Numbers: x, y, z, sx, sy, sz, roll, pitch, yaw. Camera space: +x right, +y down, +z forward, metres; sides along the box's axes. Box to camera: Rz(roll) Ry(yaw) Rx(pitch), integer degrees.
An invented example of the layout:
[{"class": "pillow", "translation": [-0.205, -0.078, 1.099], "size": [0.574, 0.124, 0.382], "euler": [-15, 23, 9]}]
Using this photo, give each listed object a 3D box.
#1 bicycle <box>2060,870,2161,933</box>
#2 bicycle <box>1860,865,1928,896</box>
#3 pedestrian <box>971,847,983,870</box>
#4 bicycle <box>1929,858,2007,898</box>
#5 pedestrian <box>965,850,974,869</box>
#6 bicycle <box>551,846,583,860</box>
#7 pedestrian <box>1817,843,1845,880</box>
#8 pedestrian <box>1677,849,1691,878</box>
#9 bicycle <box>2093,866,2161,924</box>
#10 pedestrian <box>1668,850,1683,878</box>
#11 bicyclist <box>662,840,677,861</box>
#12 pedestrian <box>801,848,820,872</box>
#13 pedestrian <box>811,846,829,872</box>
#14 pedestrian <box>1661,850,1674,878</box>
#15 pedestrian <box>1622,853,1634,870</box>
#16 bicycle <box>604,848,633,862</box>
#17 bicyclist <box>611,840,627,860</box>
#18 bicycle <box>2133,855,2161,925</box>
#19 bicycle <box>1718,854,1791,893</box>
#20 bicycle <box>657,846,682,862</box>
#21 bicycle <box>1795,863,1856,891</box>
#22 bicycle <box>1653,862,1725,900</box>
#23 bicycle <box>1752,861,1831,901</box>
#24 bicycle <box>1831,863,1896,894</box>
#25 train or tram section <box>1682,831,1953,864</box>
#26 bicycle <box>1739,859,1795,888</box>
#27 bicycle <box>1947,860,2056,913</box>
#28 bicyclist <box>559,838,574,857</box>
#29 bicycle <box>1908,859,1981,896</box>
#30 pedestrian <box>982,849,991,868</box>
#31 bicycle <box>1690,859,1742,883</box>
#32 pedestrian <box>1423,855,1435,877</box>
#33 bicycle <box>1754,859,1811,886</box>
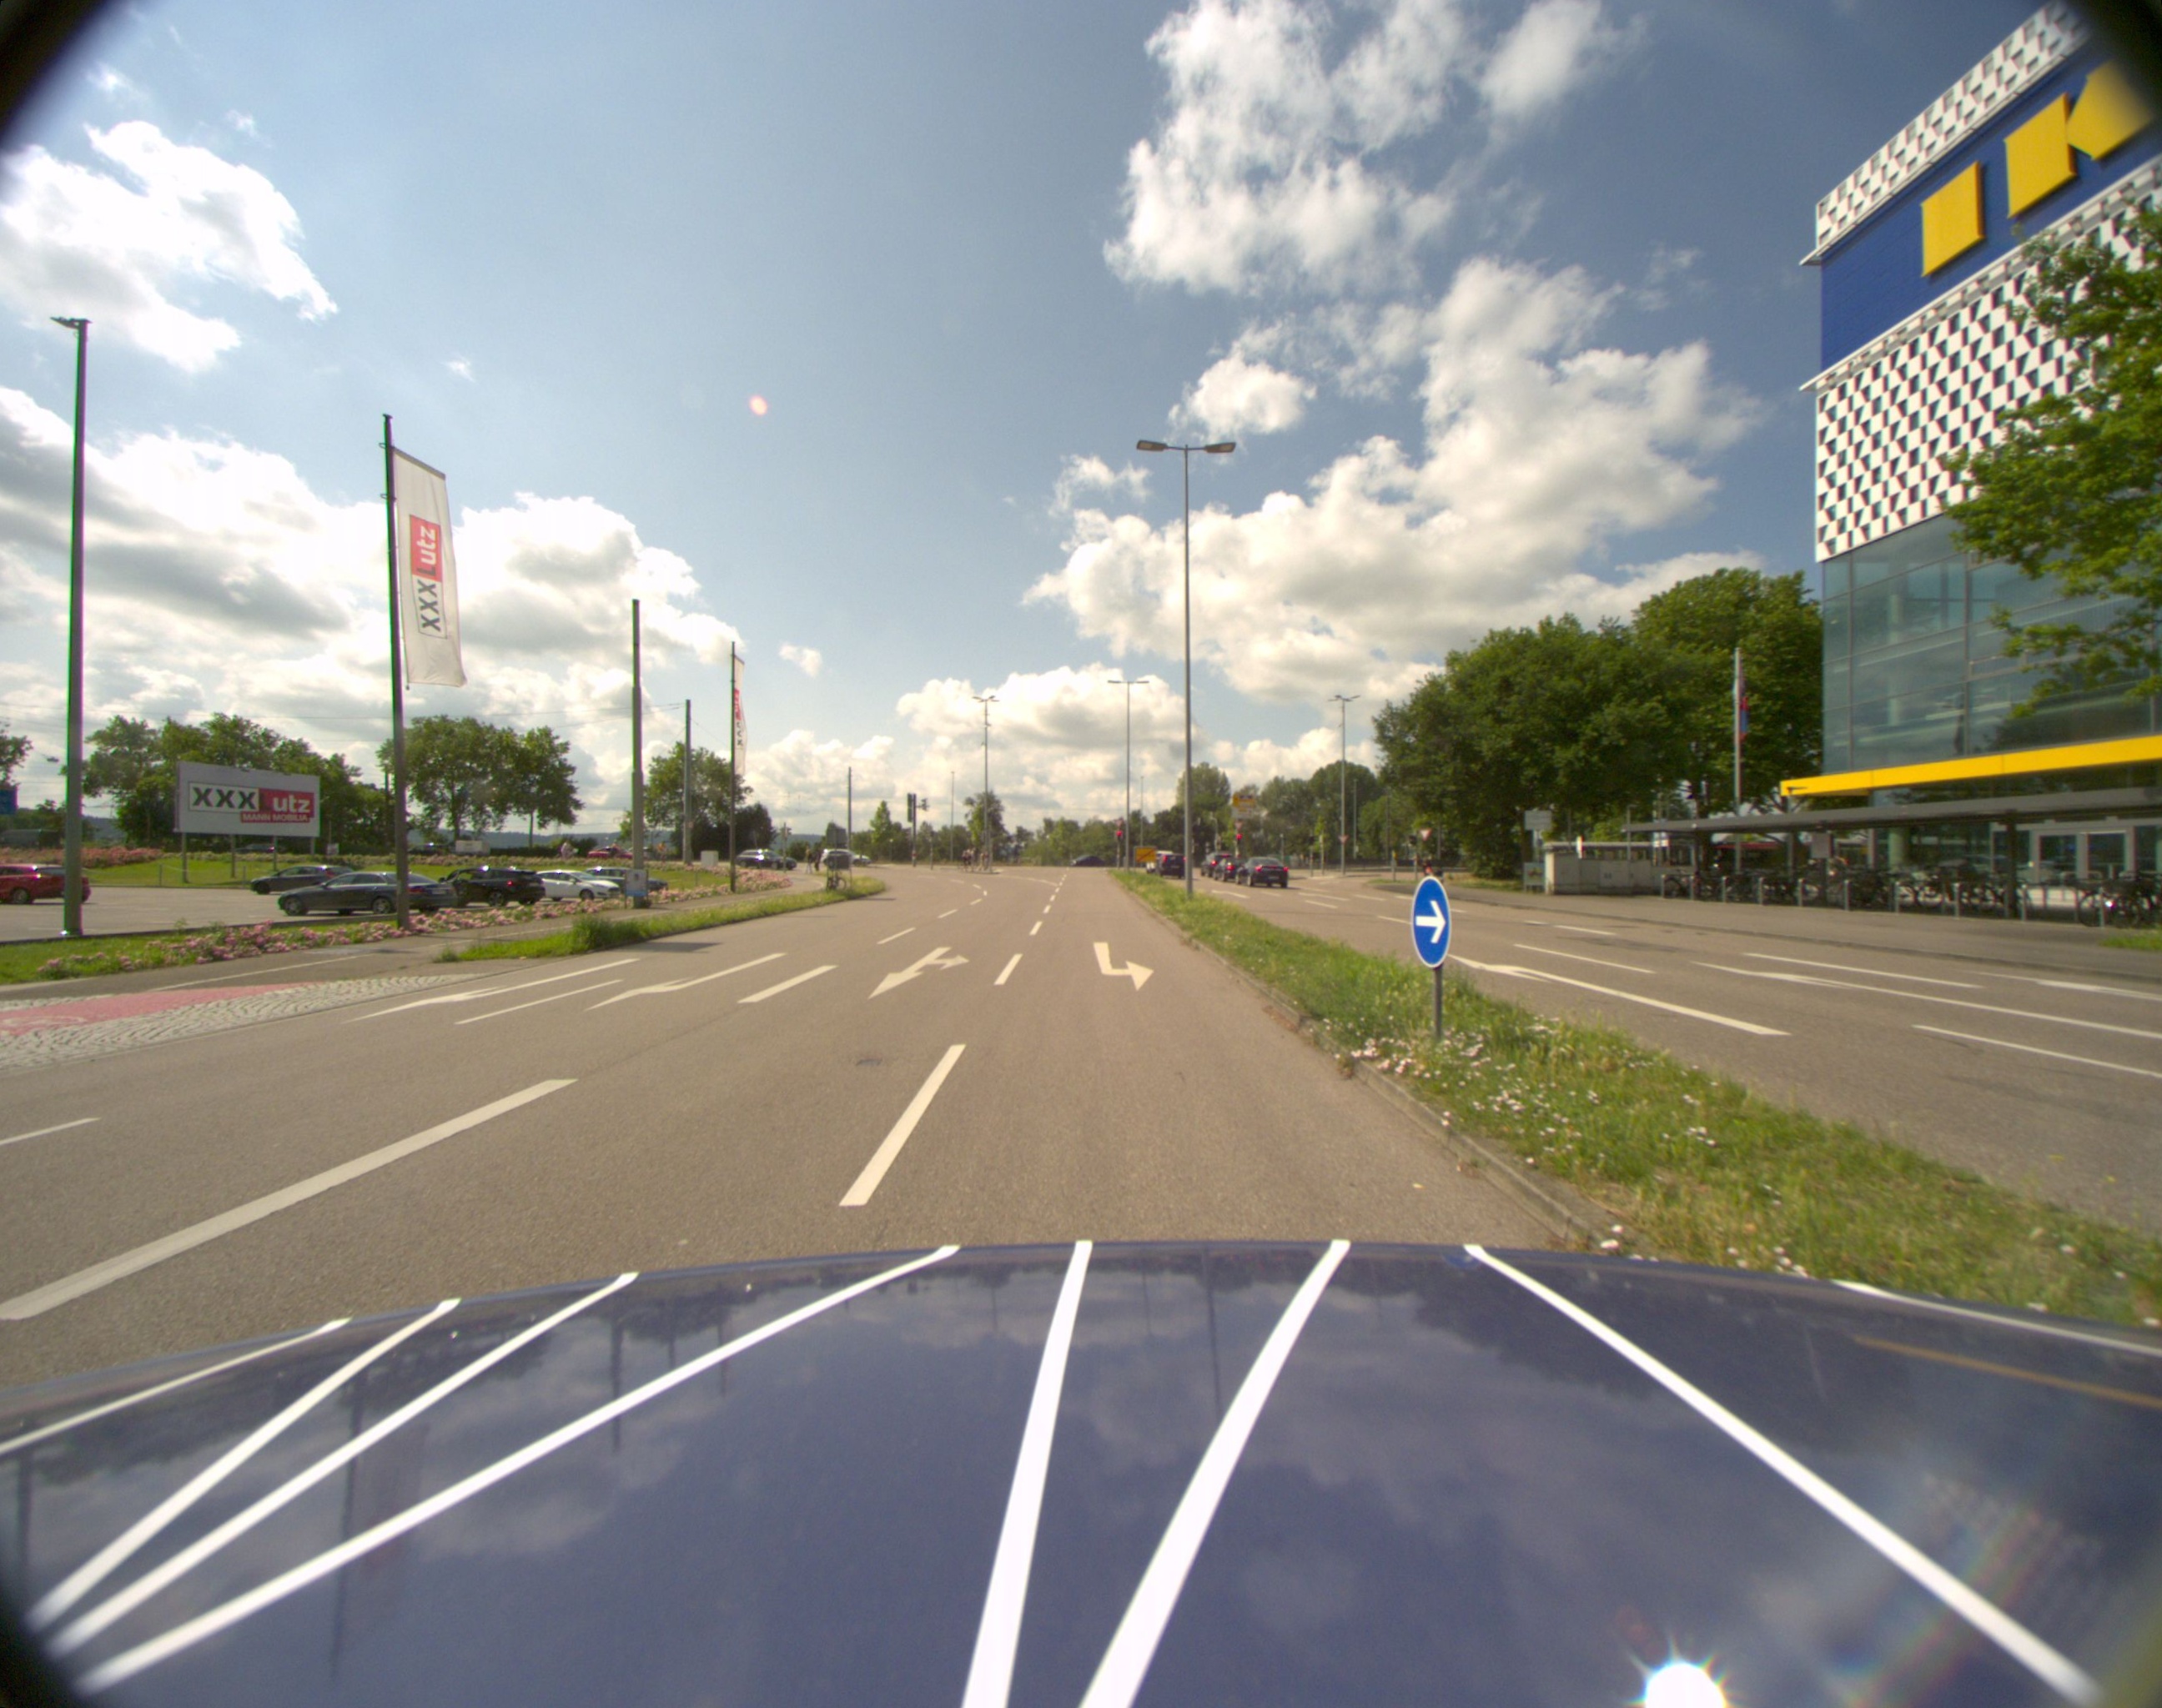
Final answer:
[{"class": "bicycle", "translation": [20.668, 0.921, 14.961], "size": [1.930, 1.176, 0.630], "euler": [-1, 0, 0]}, {"class": "bicycle", "translation": [28.796, 0.935, 26.909], "size": [1.939, 1.064, 0.529], "euler": [0, 1, -4]}, {"class": "pedestrian", "translation": [-7.997, 0.339, 58.544], "size": [0.688, 1.718, 0.701], "euler": [1, 2, 12]}, {"class": "bicycle", "translation": [28.829, 0.774, 24.709], "size": [1.950, 1.236, 0.597], "euler": [0, 1, -4]}, {"class": "pedestrian", "translation": [-8.701, 0.416, 59.334], "size": [0.584, 1.515, 0.469], "euler": [-1, 1, 9]}, {"class": "bicycle", "translation": [-37.621, -0.054, 55.616], "size": [1.986, 0.955, 0.597], "euler": [-1, 0, 1]}, {"class": "pedestrian", "translation": [34.437, 0.343, 34.883], "size": [0.896, 1.697, 0.712], "euler": [0, 1, 44]}, {"class": "pedestrian", "translation": [36.592, 0.578, 46.126], "size": [0.528, 1.693, 0.410], "euler": [-1, 0, -9]}, {"class": "bicycle", "translation": [22.796, 0.851, 16.063], "size": [1.930, 1.172, 0.630], "euler": [-1, 0, 0]}, {"class": "pedestrian", "translation": [35.612, 0.594, 45.526], "size": [0.410, 1.693, 0.516], "euler": [-1, 0, -6]}, {"class": "bicyclist", "translation": [-29.912, -0.232, 55.255], "size": [0.696, 1.526, 0.621], "euler": [-1, 0, 5]}, {"class": "pedestrian", "translation": [-19.287, 0.425, 54.135], "size": [0.860, 1.755, 0.867], "euler": [0, 0, 27]}, {"class": "pedestrian", "translation": [-18.180, 0.337, 52.938], "size": [0.820, 1.792, 0.761], "euler": [0, 1, 28]}, {"class": "pedestrian", "translation": [35.560, 0.599, 46.095], "size": [0.404, 1.693, 0.450], "euler": [-1, 0, -6]}, {"class": "pedestrian", "translation": [61.455, 0.842, 85.404], "size": [0.792, 1.842, 0.761], "euler": [1, 0, -8]}, {"class": "bicycle", "translation": [-33.890, 0.073, 55.722], "size": [1.695, 0.955, 0.666], "euler": [-1, 0, 1]}, {"class": "bicyclist", "translation": [-33.888, -0.309, 55.733], "size": [0.742, 1.466, 0.651], "euler": [-1, 0, 1]}, {"class": "bicycle", "translation": [20.611, 0.646, 13.868], "size": [1.930, 1.265, 0.630], "euler": [-1, 0, 0]}, {"class": "bicycle", "translation": [22.900, 0.662, 25.856], "size": [1.930, 1.265, 0.630], "euler": [-1, 0, 0]}, {"class": "bicycle", "translation": [-29.933, 0.021, 55.234], "size": [1.503, 1.158, 0.621], "euler": [-1, 0, 5]}, {"class": "bicycle", "translation": [28.687, 0.876, 29.286], "size": [1.939, 1.064, 0.529], "euler": [0, 1, -4]}, {"class": "bicycle", "translation": [20.673, 0.915, 25.860], "size": [1.930, 1.265, 0.630], "euler": [-1, 0, 0]}, {"class": "bicycle", "translation": [22.905, 0.868, 24.501], "size": [1.930, 1.265, 0.630], "euler": [-1, 0, 0]}, {"class": "bicycle", "translation": [28.724, 0.886, 27.891], "size": [1.935, 1.083, 0.520], "euler": [-1, 0, -4]}, {"class": "train or tram section", "translation": [78.887, -0.630, 81.785], "size": [25.113, 3.014, 4.530], "euler": [1, 0, -1]}, {"class": "bicycle", "translation": [28.389, 0.803, 31.454], "size": [1.961, 1.165, 0.467], "euler": [-1, 0, -4]}, {"class": "bicycle", "translation": [22.802, 0.806, 18.846], "size": [1.930, 1.265, 0.630], "euler": [-1, 0, 0]}, {"class": "bicyclist", "translation": [-37.672, -0.474, 55.622], "size": [0.687, 1.317, 0.593], "euler": [-1, 0, 1]}, {"class": "bicycle", "translation": [28.829, 0.777, 25.371], "size": [1.939, 1.202, 0.529], "euler": [0, 1, -4]}, {"class": "pedestrian", "translation": [-7.557, 0.363, 60.553], "size": [0.556, 1.515, 0.470], "euler": [-1, 0, 9]}, {"class": "bicycle", "translation": [28.497, 0.769, 34.104], "size": [1.939, 1.064, 0.529], "euler": [0, 1, -4]}, {"class": "pedestrian", "translation": [24.103, 0.844, 52.616], "size": [0.439, 1.481, 0.619], "euler": [-1, 1, -16]}, {"class": "bicycle", "translation": [28.446, 0.763, 30.825], "size": [1.939, 1.064, 0.529], "euler": [0, 1, -4]}]
